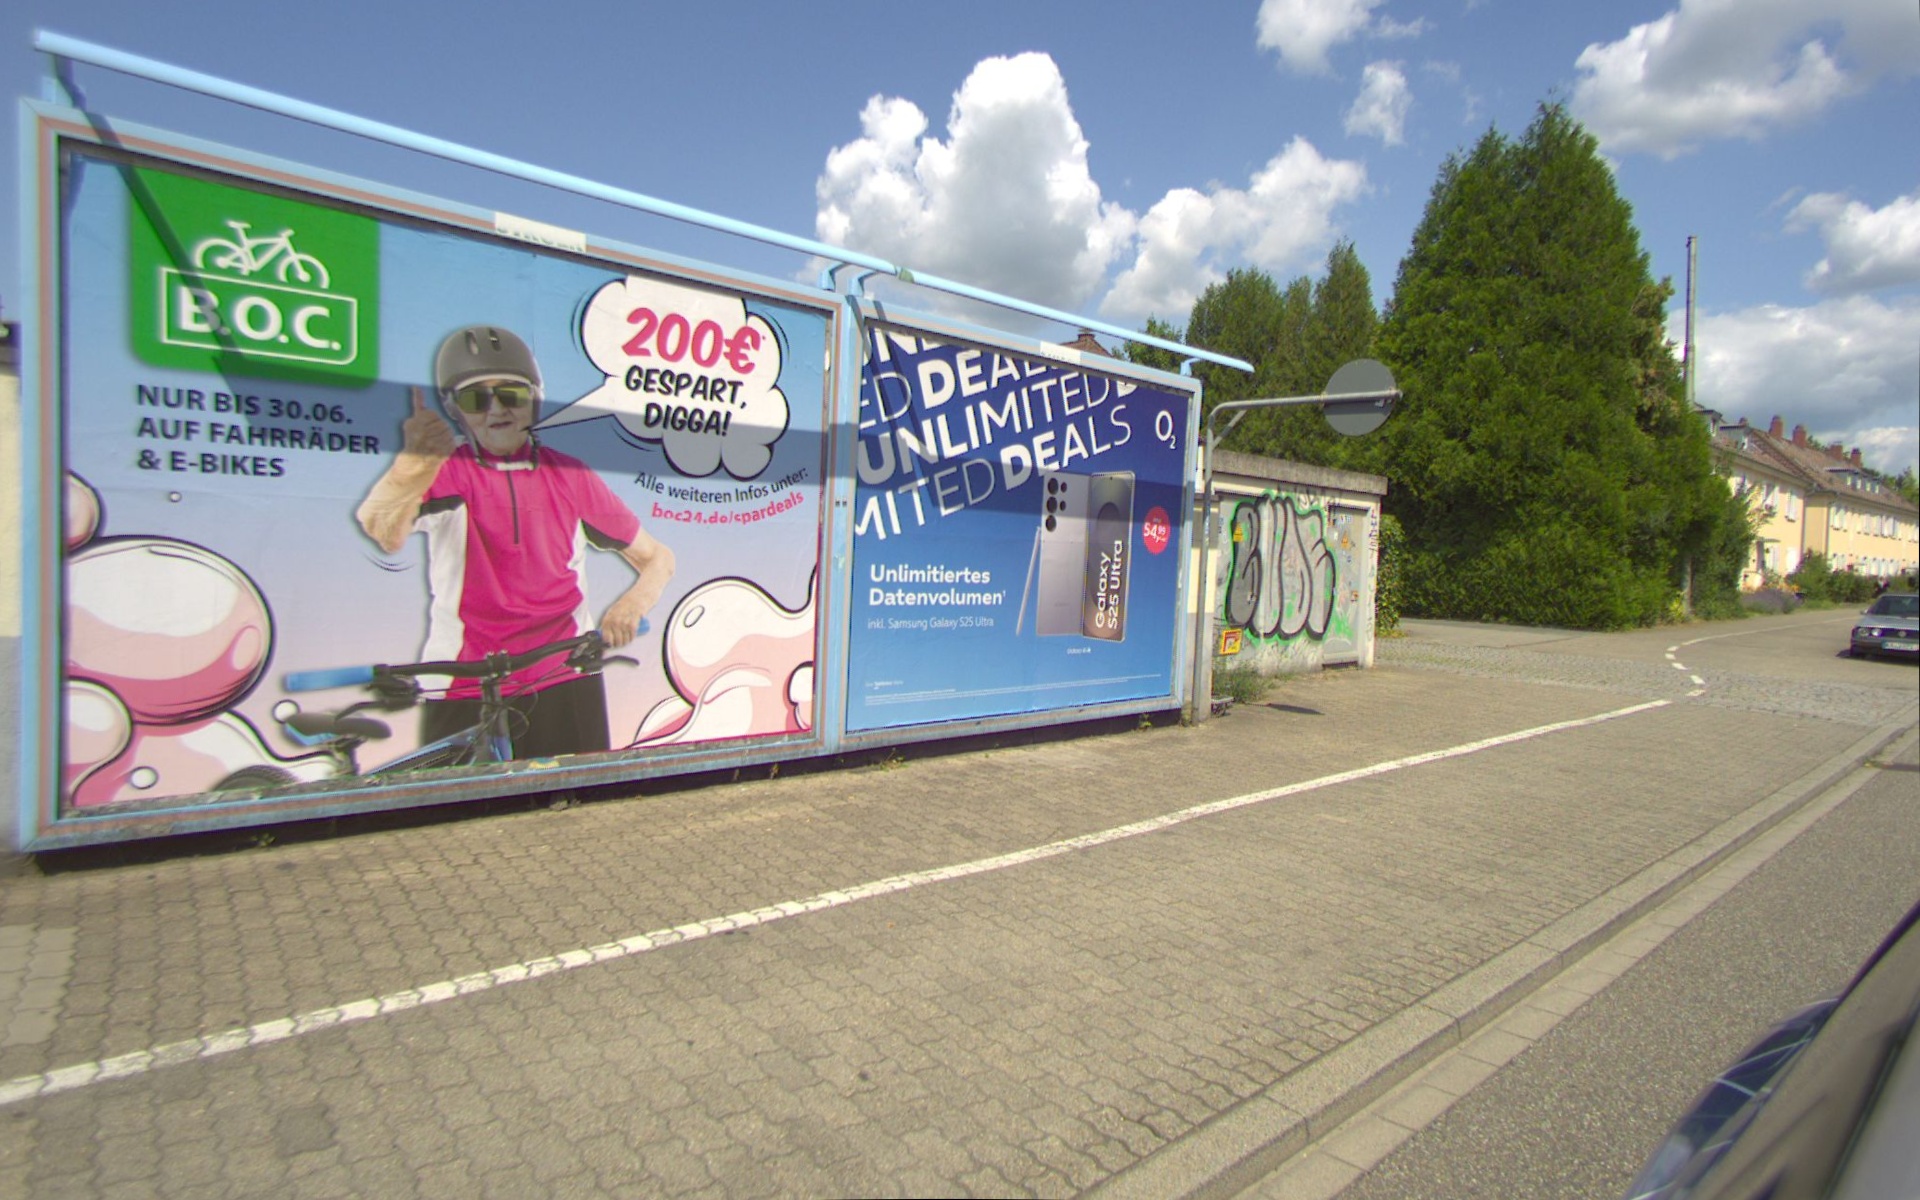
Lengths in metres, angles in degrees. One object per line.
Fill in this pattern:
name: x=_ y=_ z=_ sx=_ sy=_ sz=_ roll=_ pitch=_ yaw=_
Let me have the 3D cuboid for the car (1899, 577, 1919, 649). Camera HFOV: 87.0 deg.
car: x=22.950 y=0.287 z=23.232 sx=4.284 sy=1.534 sz=1.694 roll=-2 pitch=4 yaw=-43

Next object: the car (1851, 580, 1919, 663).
car: x=19.240 y=0.383 z=20.126 sx=4.024 sy=1.448 sz=1.656 roll=-2 pitch=4 yaw=-40

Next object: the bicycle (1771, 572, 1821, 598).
bicycle: x=38.202 y=-0.699 z=46.249 sx=0.285 sy=1.116 sz=1.693 roll=0 pitch=2 yaw=-40
